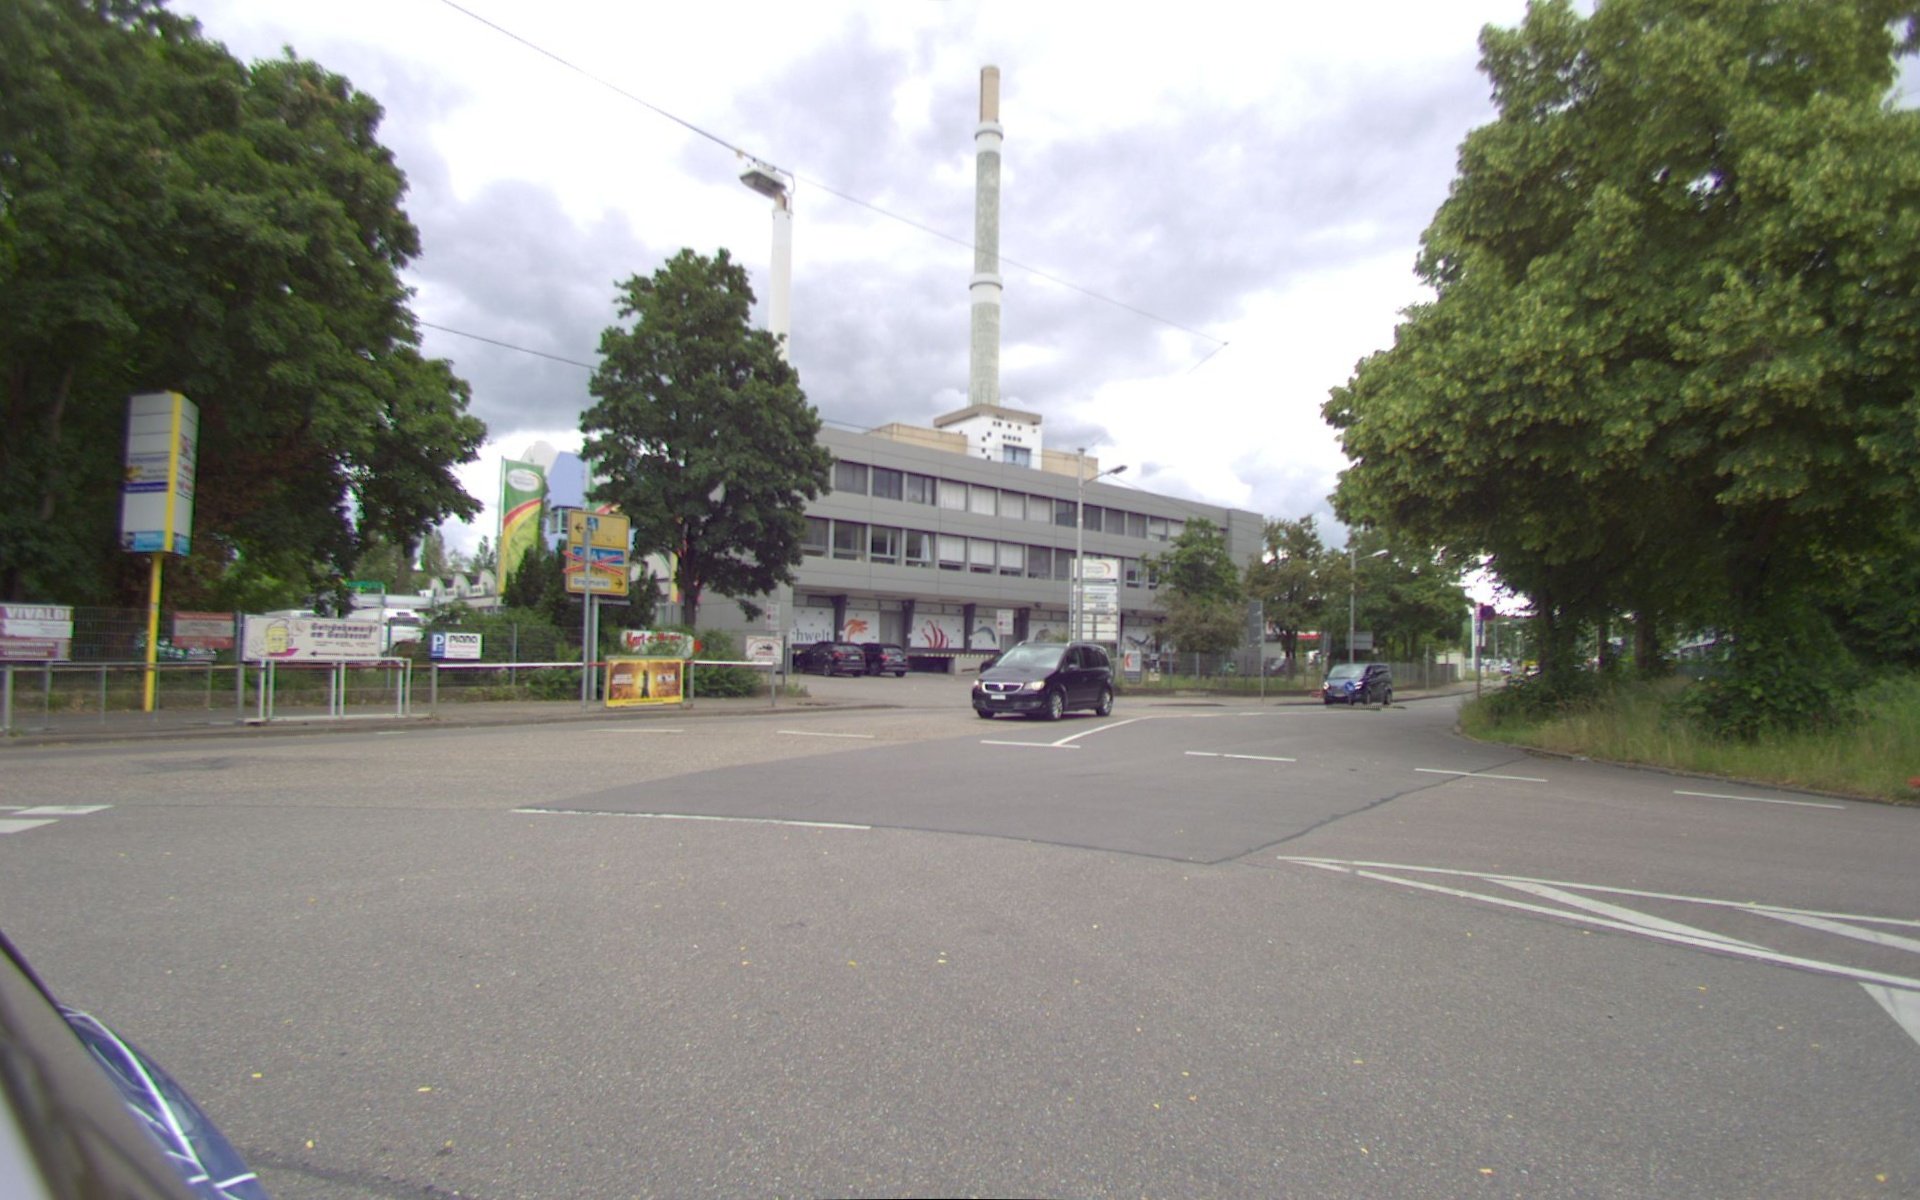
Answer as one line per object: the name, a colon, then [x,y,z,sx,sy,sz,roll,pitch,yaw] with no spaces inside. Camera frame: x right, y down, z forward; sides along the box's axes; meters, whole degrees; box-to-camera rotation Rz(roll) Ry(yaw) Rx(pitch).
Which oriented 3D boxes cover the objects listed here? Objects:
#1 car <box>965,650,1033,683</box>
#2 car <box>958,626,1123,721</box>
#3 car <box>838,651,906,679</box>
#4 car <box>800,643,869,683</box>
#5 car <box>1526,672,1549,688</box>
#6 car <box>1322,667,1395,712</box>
car: [2.083,3.571,54.912,1.721,1.564,3.617,-1,0,-39]
car: [1.812,1.582,21.349,1.826,1.785,4.185,-1,-6,30]
car: [-4.498,3.277,51.385,1.749,1.187,3.580,-1,0,-38]
car: [-6.181,3.056,49.567,1.749,1.691,3.580,-1,0,-38]
car: [71.744,9.916,125.704,1.831,1.960,4.510,-2,-4,39]
car: [18.711,4.151,47.420,1.831,1.960,4.740,-2,-4,39]
